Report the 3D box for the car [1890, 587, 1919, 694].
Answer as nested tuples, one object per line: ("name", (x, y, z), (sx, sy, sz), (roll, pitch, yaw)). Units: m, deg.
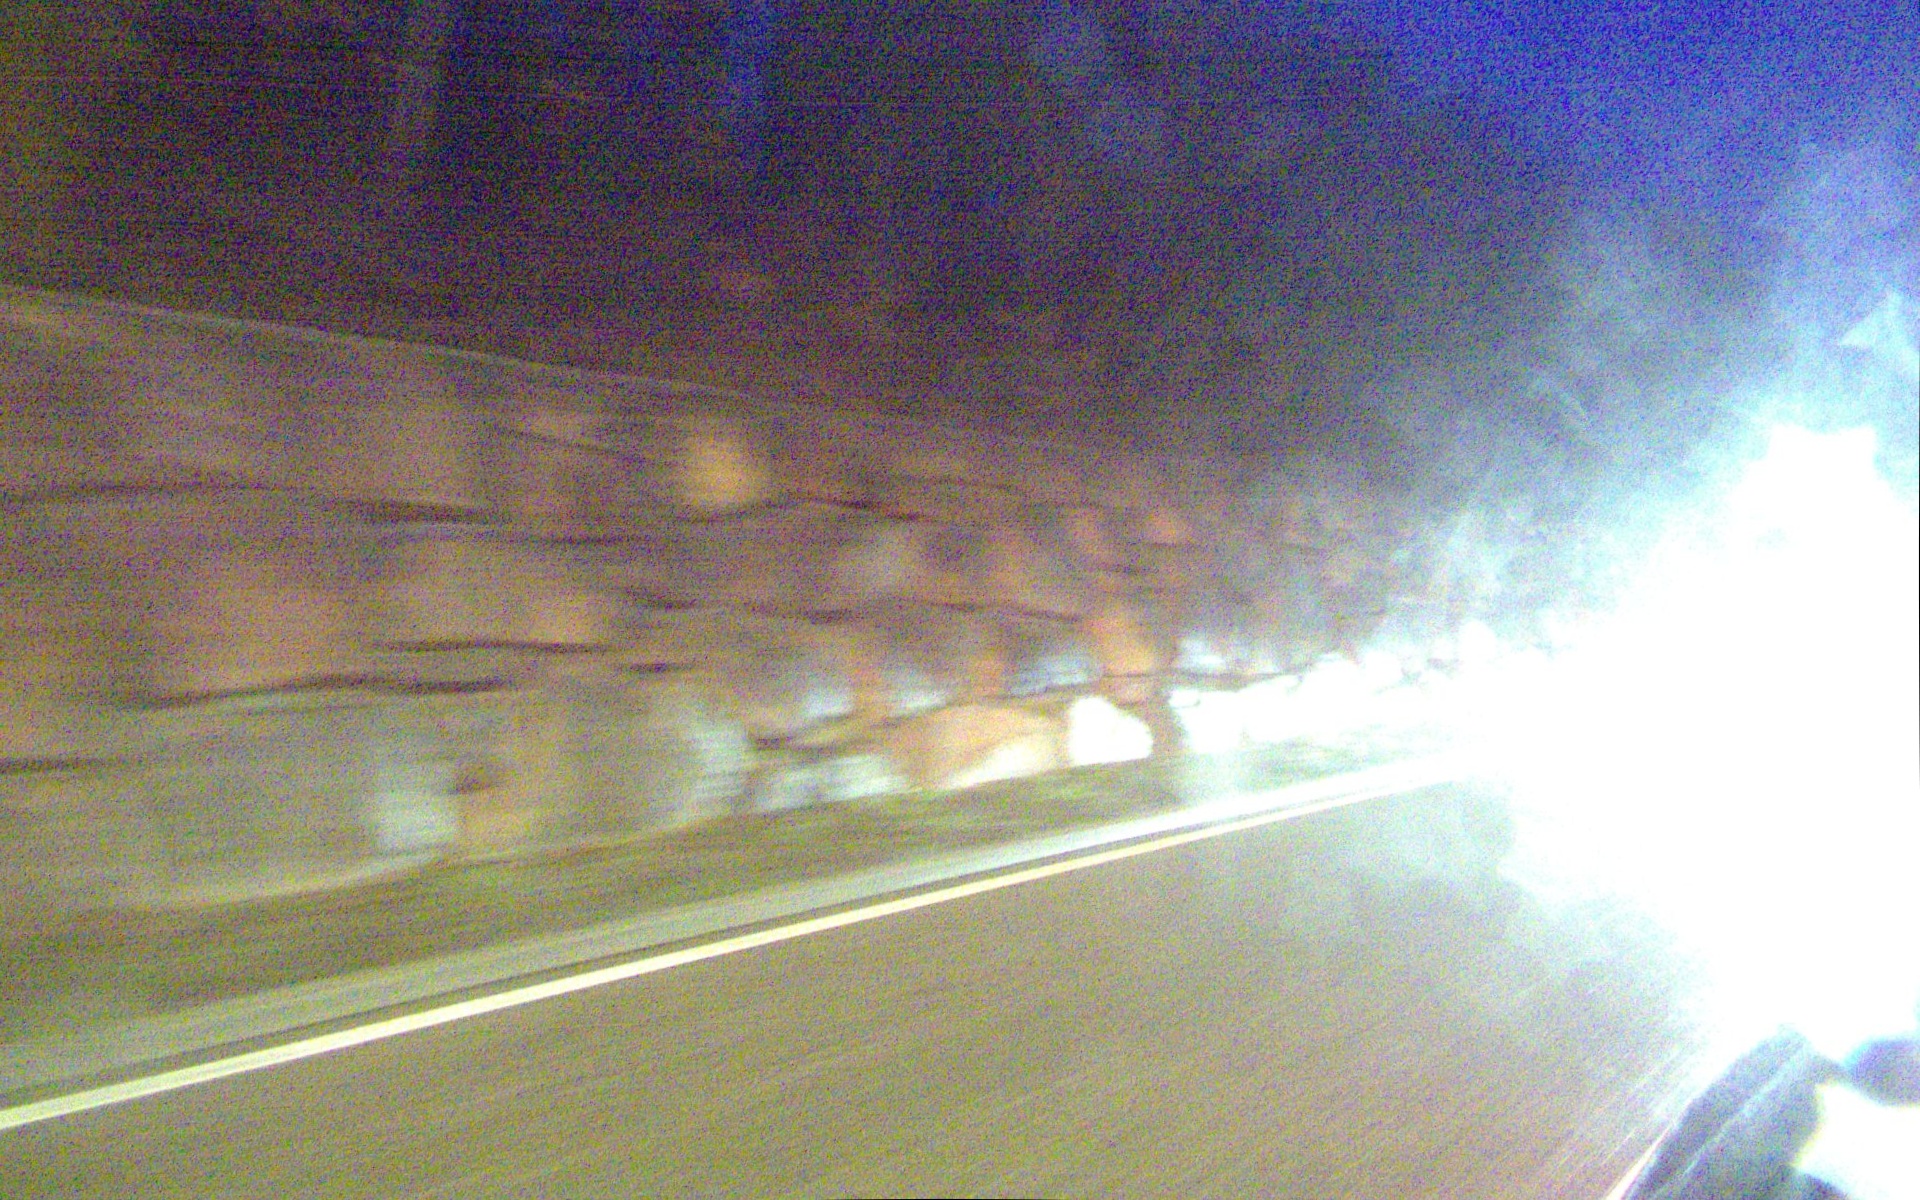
("car", (17.346, 0.656, 17.213), (4.144, 1.715, 1.789), (0, 0, -41))
